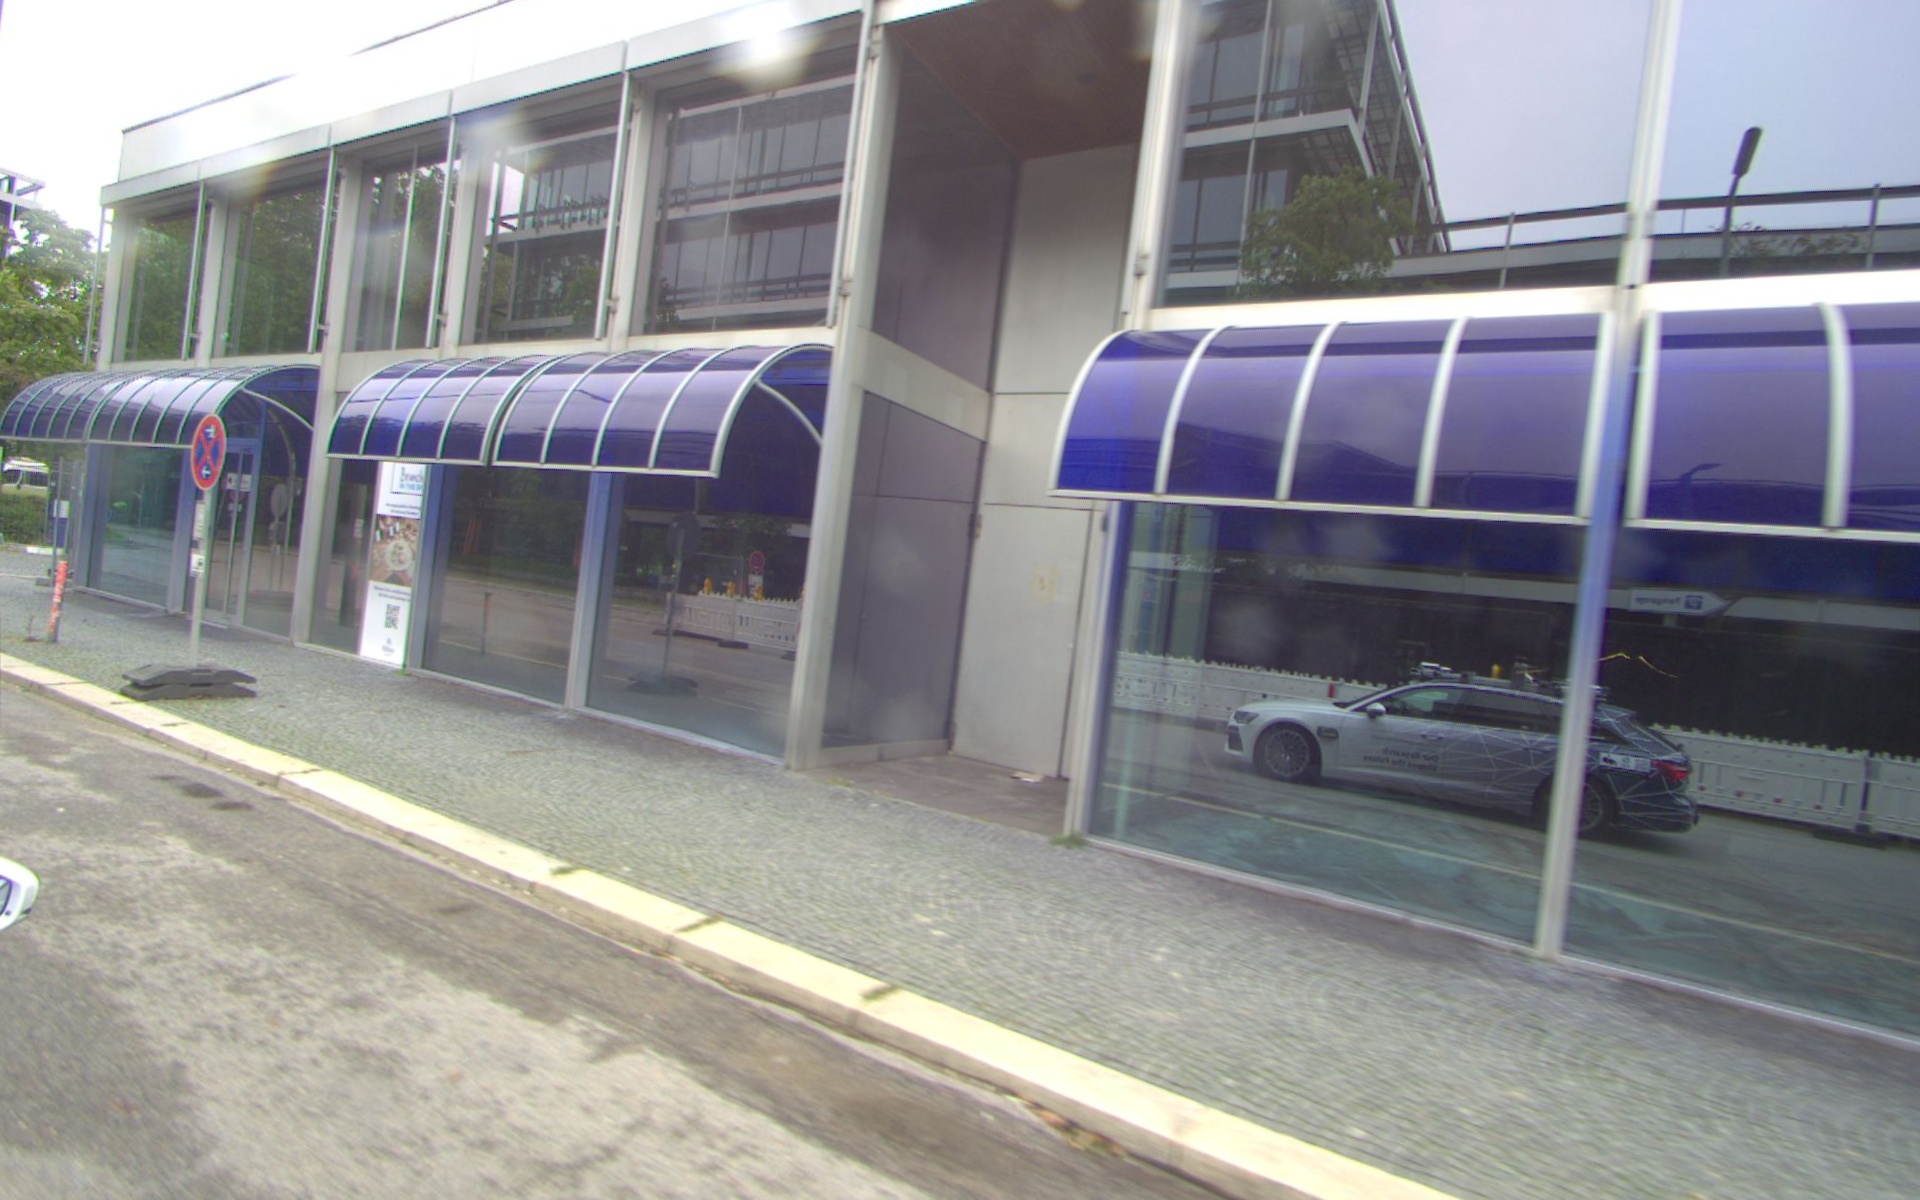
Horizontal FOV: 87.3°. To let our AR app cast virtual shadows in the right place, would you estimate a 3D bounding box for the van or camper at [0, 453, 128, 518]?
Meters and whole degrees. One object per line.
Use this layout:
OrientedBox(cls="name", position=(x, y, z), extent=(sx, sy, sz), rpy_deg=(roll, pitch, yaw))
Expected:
OrientedBox(cls="van or camper", position=(-44.726, -5.658, 48.746), extent=(2.212, 2.309, 6.421), rpy_deg=(7, -1, 18))
